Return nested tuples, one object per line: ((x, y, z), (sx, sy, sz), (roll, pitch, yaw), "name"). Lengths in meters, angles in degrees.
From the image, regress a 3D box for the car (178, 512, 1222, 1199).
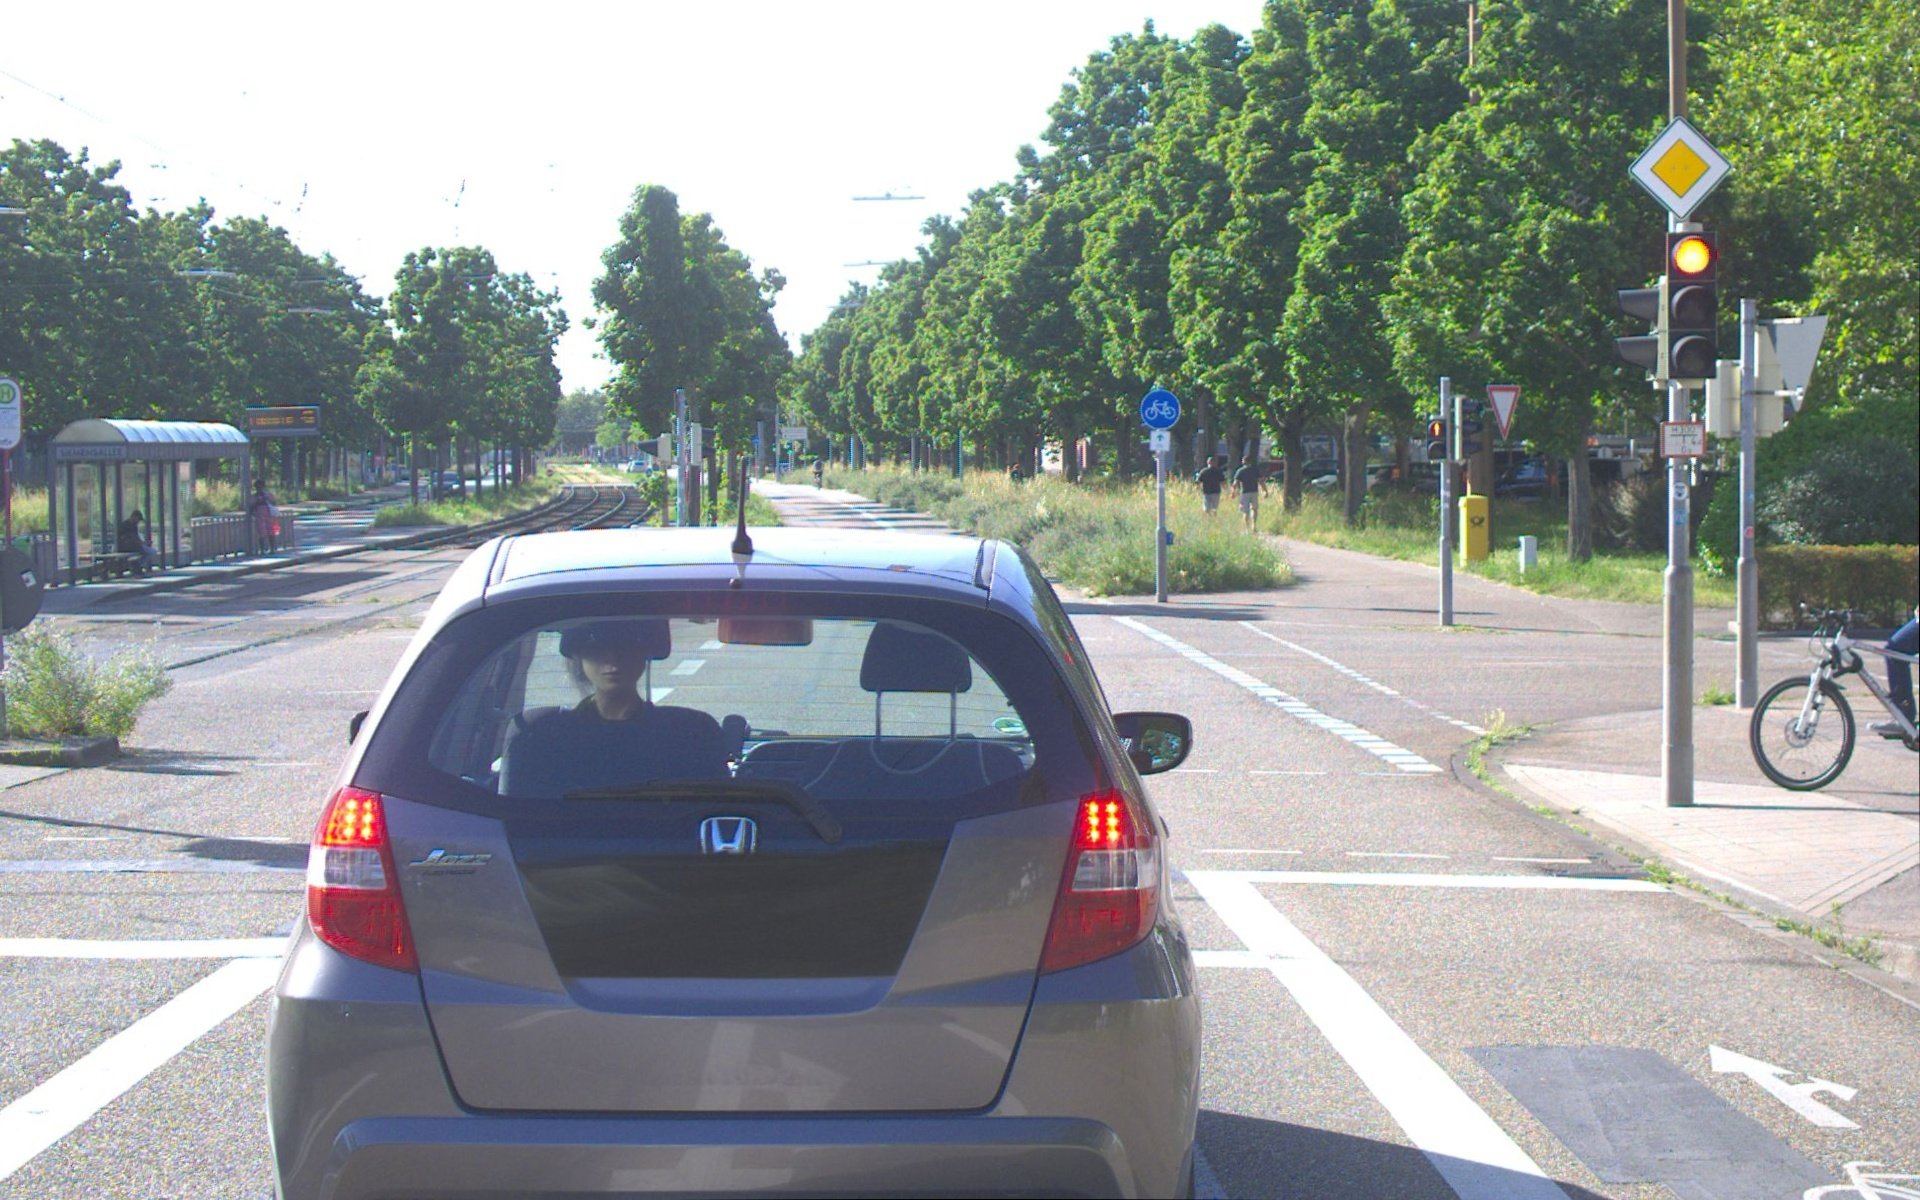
((-0.431, 0.573, 7.662), (1.707, 1.503, 4.000), (1, 1, 0), "car")

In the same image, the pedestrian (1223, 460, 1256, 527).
((6.850, -2.607, 84.169), (0.678, 1.604, 0.721), (1, 1, -3), "pedestrian")

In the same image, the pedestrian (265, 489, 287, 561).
((-15.950, -1.756, 80.203), (0.502, 1.670, 0.388), (0, 1, -12), "pedestrian")

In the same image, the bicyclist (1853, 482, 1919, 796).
((5.558, 0.205, 19.409), (0.910, 1.739, 0.764), (-1, 1, 10), "bicyclist")

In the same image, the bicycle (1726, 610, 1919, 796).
((5.355, 0.565, 19.468), (1.921, 0.994, 0.764), (-2, 1, 10), "bicycle")

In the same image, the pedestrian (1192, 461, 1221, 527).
((6.032, -2.595, 84.141), (0.567, 1.591, 0.666), (1, 1, -4), "pedestrian")

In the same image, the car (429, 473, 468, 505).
((-28.384, -6.129, 190.755), (1.766, 1.732, 4.001), (0, 1, -3), "car")

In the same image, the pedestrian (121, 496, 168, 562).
((-15.572, -1.354, 65.663), (0.721, 1.241, 0.711), (-1, 1, -2), "pedestrian")
